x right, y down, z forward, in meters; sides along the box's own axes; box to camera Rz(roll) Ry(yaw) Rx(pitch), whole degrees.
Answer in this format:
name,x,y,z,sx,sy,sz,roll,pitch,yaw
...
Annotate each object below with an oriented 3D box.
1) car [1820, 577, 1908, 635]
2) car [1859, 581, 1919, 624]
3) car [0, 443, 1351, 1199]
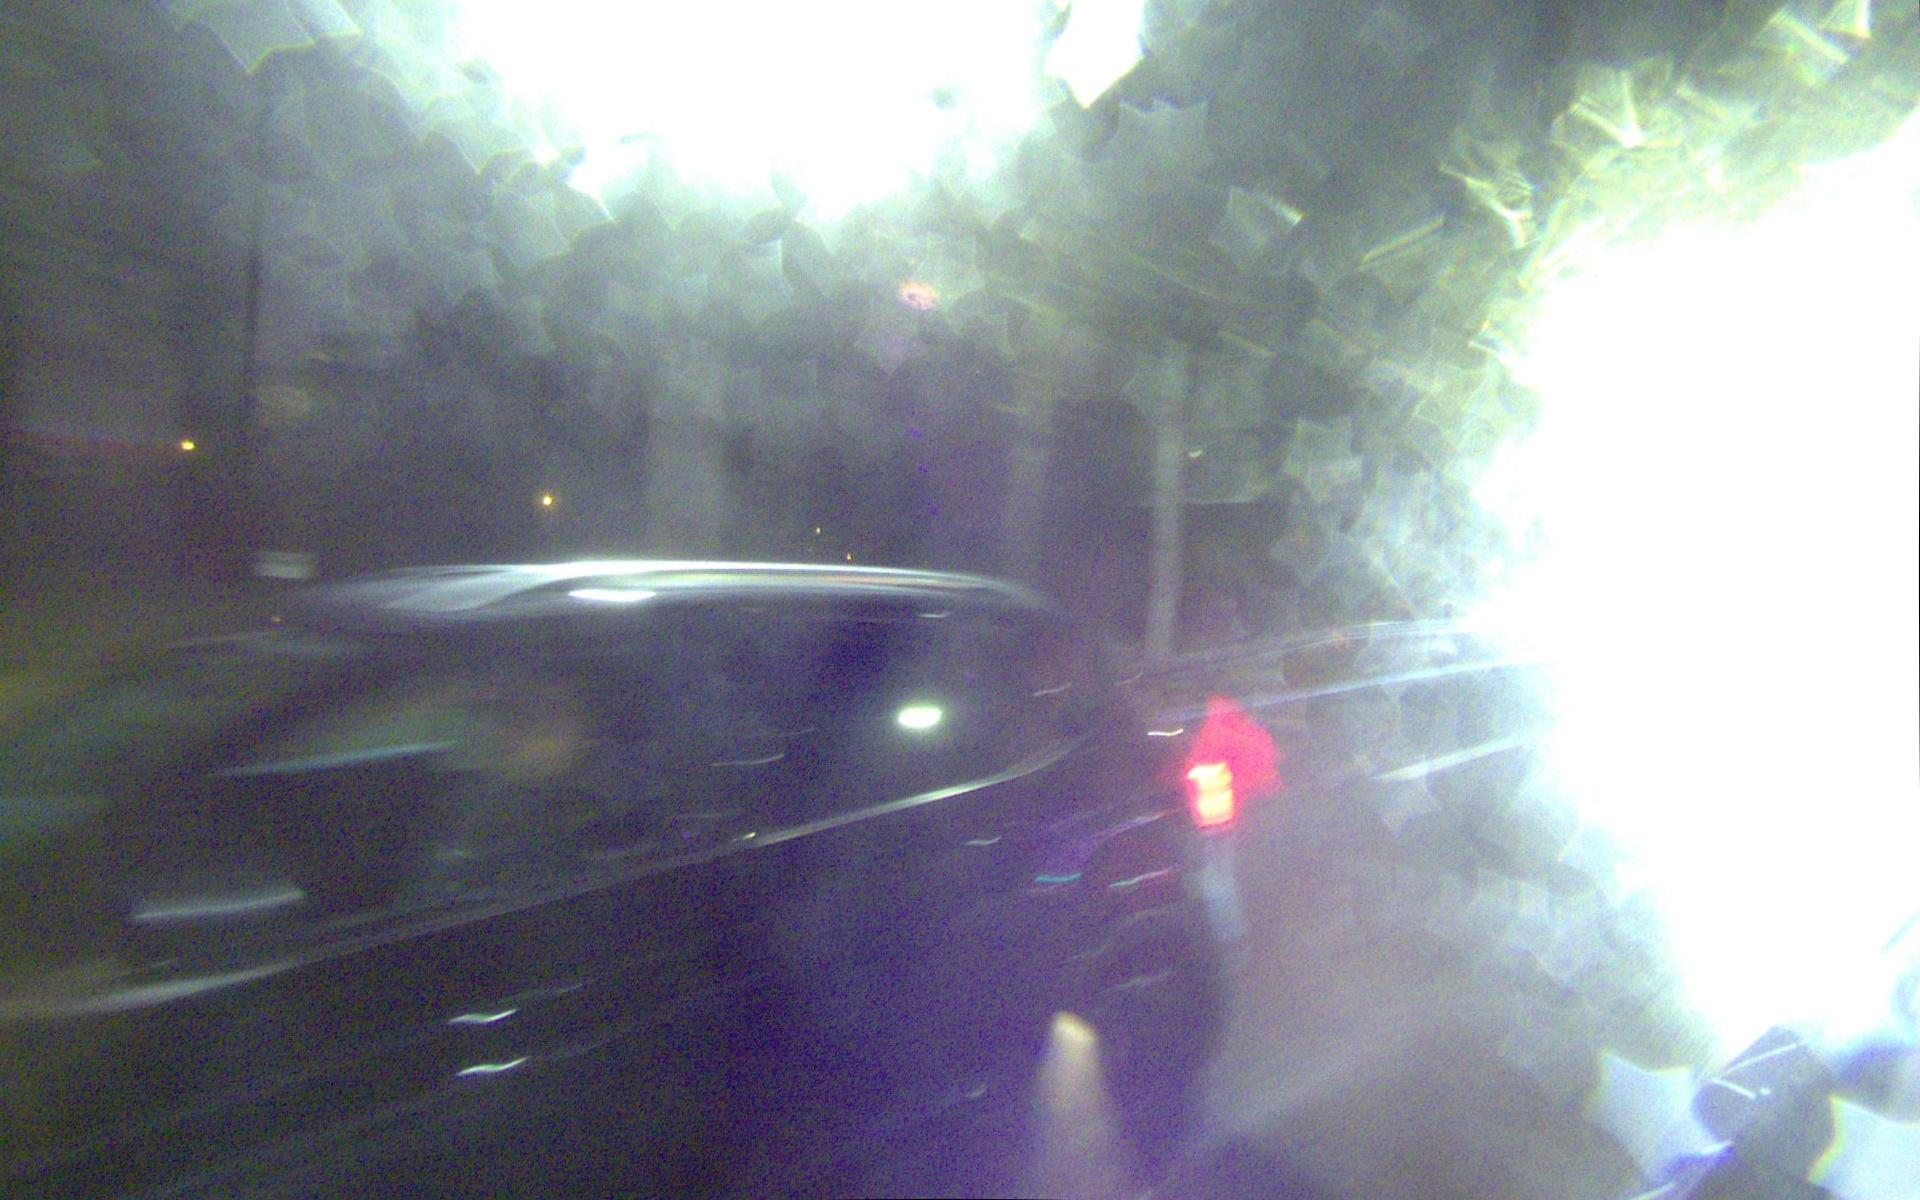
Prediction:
name,x,y,z,sx,sy,sz,roll,pitch,yaw
car,31.325,0.177,35.039,3.933,1.896,1.934,0,1,-43
car,46.780,0.121,50.656,1.988,1.957,3.950,6,3,34
car,-0.965,0.620,2.300,3.933,1.544,1.995,0,0,-44
